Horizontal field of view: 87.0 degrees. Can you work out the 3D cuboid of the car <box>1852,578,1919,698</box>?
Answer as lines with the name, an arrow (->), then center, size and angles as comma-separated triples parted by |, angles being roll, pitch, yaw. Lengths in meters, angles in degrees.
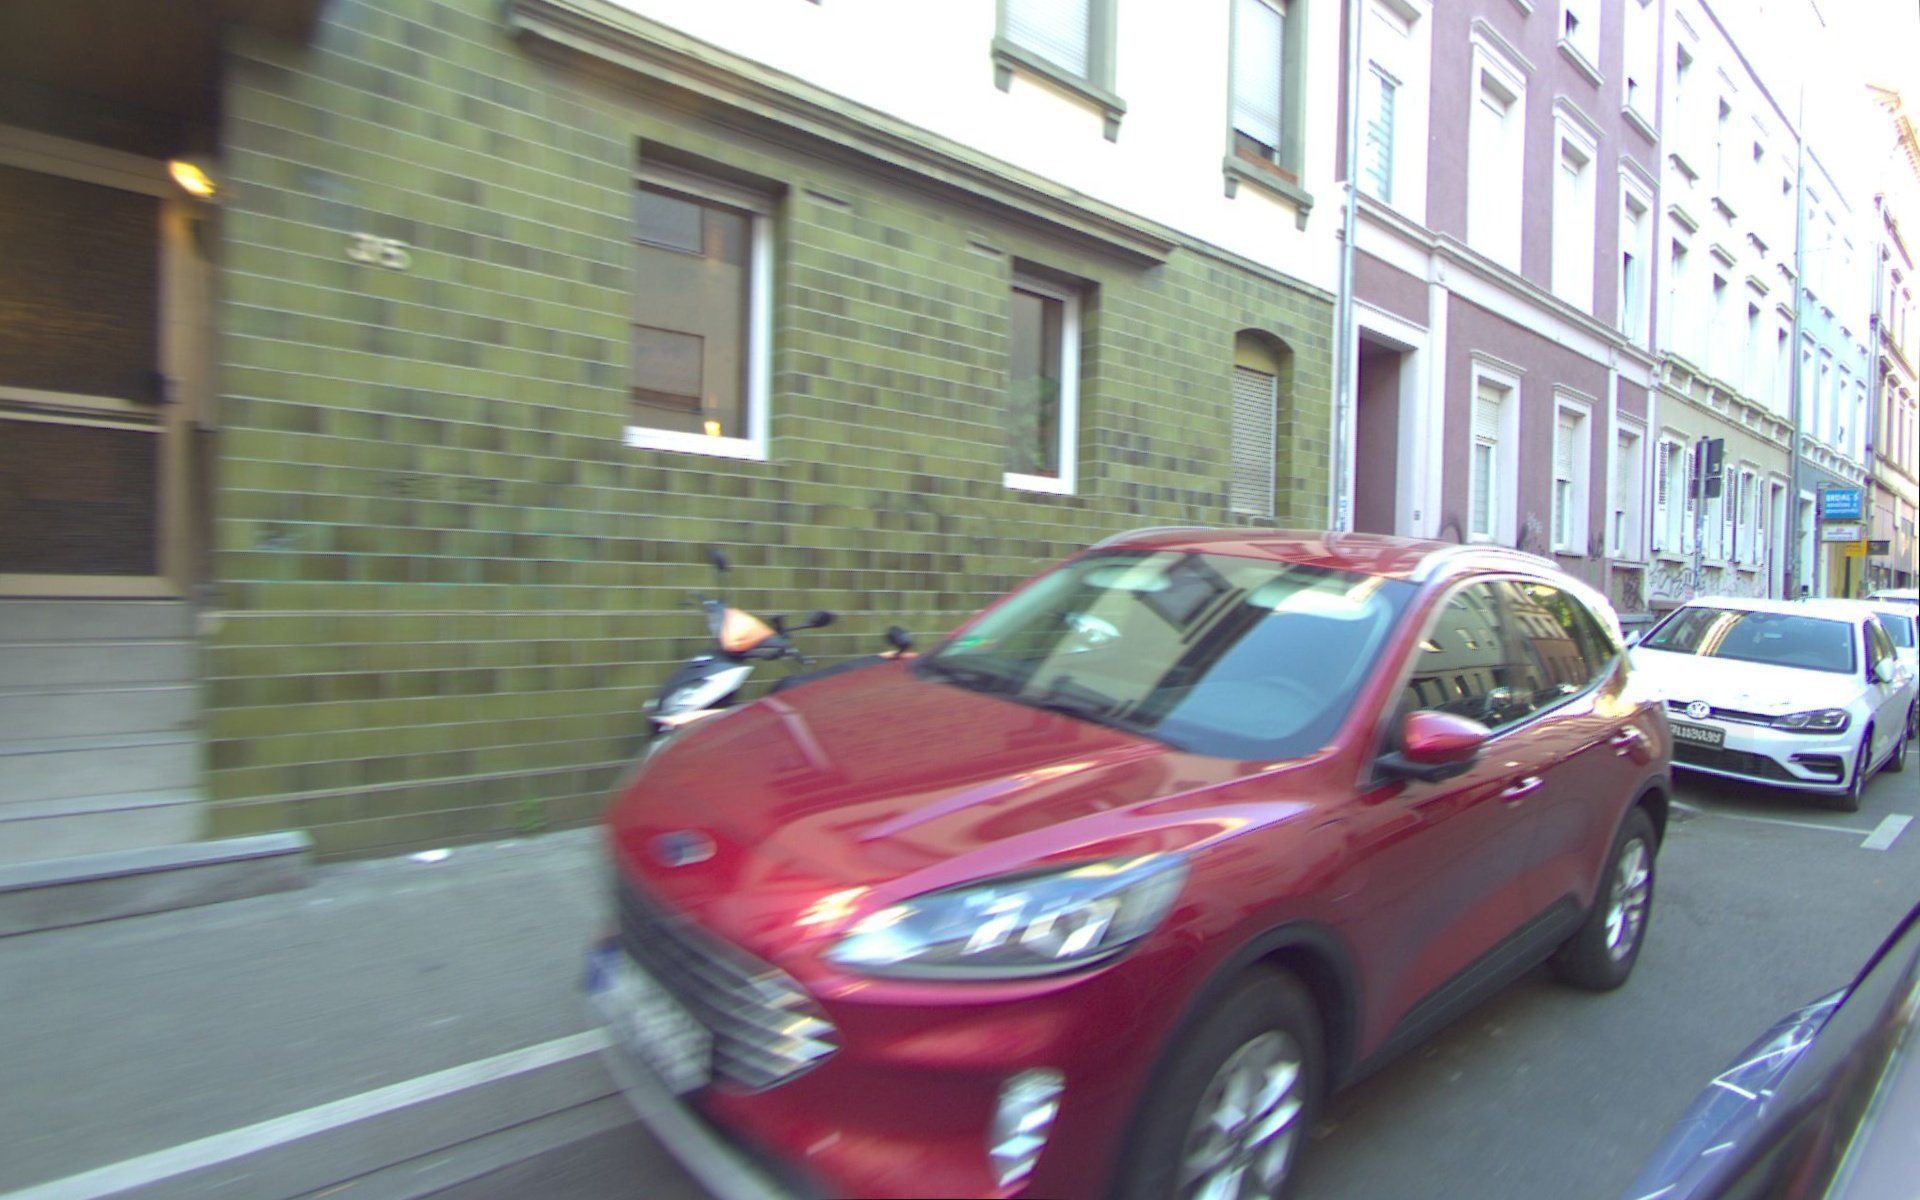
car -> 15.208, 0.532, 15.757 | 3.497, 1.733, 1.559 | 0, 1, -41

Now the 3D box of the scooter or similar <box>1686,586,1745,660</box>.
scooter or similar -> 12.952, 0.375, 17.338 | 1.345, 1.196, 0.451 | 0, 5, -41

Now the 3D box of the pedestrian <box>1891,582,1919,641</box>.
pedestrian -> 28.798, 0.341, 30.785 | 0.627, 1.762, 0.650 | 0, 0, 37

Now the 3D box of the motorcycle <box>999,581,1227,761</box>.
motorcycle -> 1.119, 0.437, 7.173 | 1.745, 1.108, 0.560 | 0, 4, -41

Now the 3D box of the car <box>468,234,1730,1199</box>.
car -> 0.892, 0.350, 3.468 | 4.290, 1.727, 1.922 | 0, 2, -41

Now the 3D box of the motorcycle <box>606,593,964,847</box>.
motorcycle -> -0.854, 0.537, 5.345 | 1.845, 1.108, 0.502 | 0, 4, -41

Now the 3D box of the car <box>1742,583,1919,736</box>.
car -> 11.540, 0.611, 12.816 | 4.548, 1.562, 1.700 | -1, 4, -41

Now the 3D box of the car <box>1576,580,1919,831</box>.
car -> 6.872, 0.662, 8.539 | 3.976, 1.562, 1.690 | -1, 4, -41

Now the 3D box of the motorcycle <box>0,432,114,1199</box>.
motorcycle -> -2.024, 0.594, 0.566 | 2.379, 1.508, 0.748 | 0, 0, -41
